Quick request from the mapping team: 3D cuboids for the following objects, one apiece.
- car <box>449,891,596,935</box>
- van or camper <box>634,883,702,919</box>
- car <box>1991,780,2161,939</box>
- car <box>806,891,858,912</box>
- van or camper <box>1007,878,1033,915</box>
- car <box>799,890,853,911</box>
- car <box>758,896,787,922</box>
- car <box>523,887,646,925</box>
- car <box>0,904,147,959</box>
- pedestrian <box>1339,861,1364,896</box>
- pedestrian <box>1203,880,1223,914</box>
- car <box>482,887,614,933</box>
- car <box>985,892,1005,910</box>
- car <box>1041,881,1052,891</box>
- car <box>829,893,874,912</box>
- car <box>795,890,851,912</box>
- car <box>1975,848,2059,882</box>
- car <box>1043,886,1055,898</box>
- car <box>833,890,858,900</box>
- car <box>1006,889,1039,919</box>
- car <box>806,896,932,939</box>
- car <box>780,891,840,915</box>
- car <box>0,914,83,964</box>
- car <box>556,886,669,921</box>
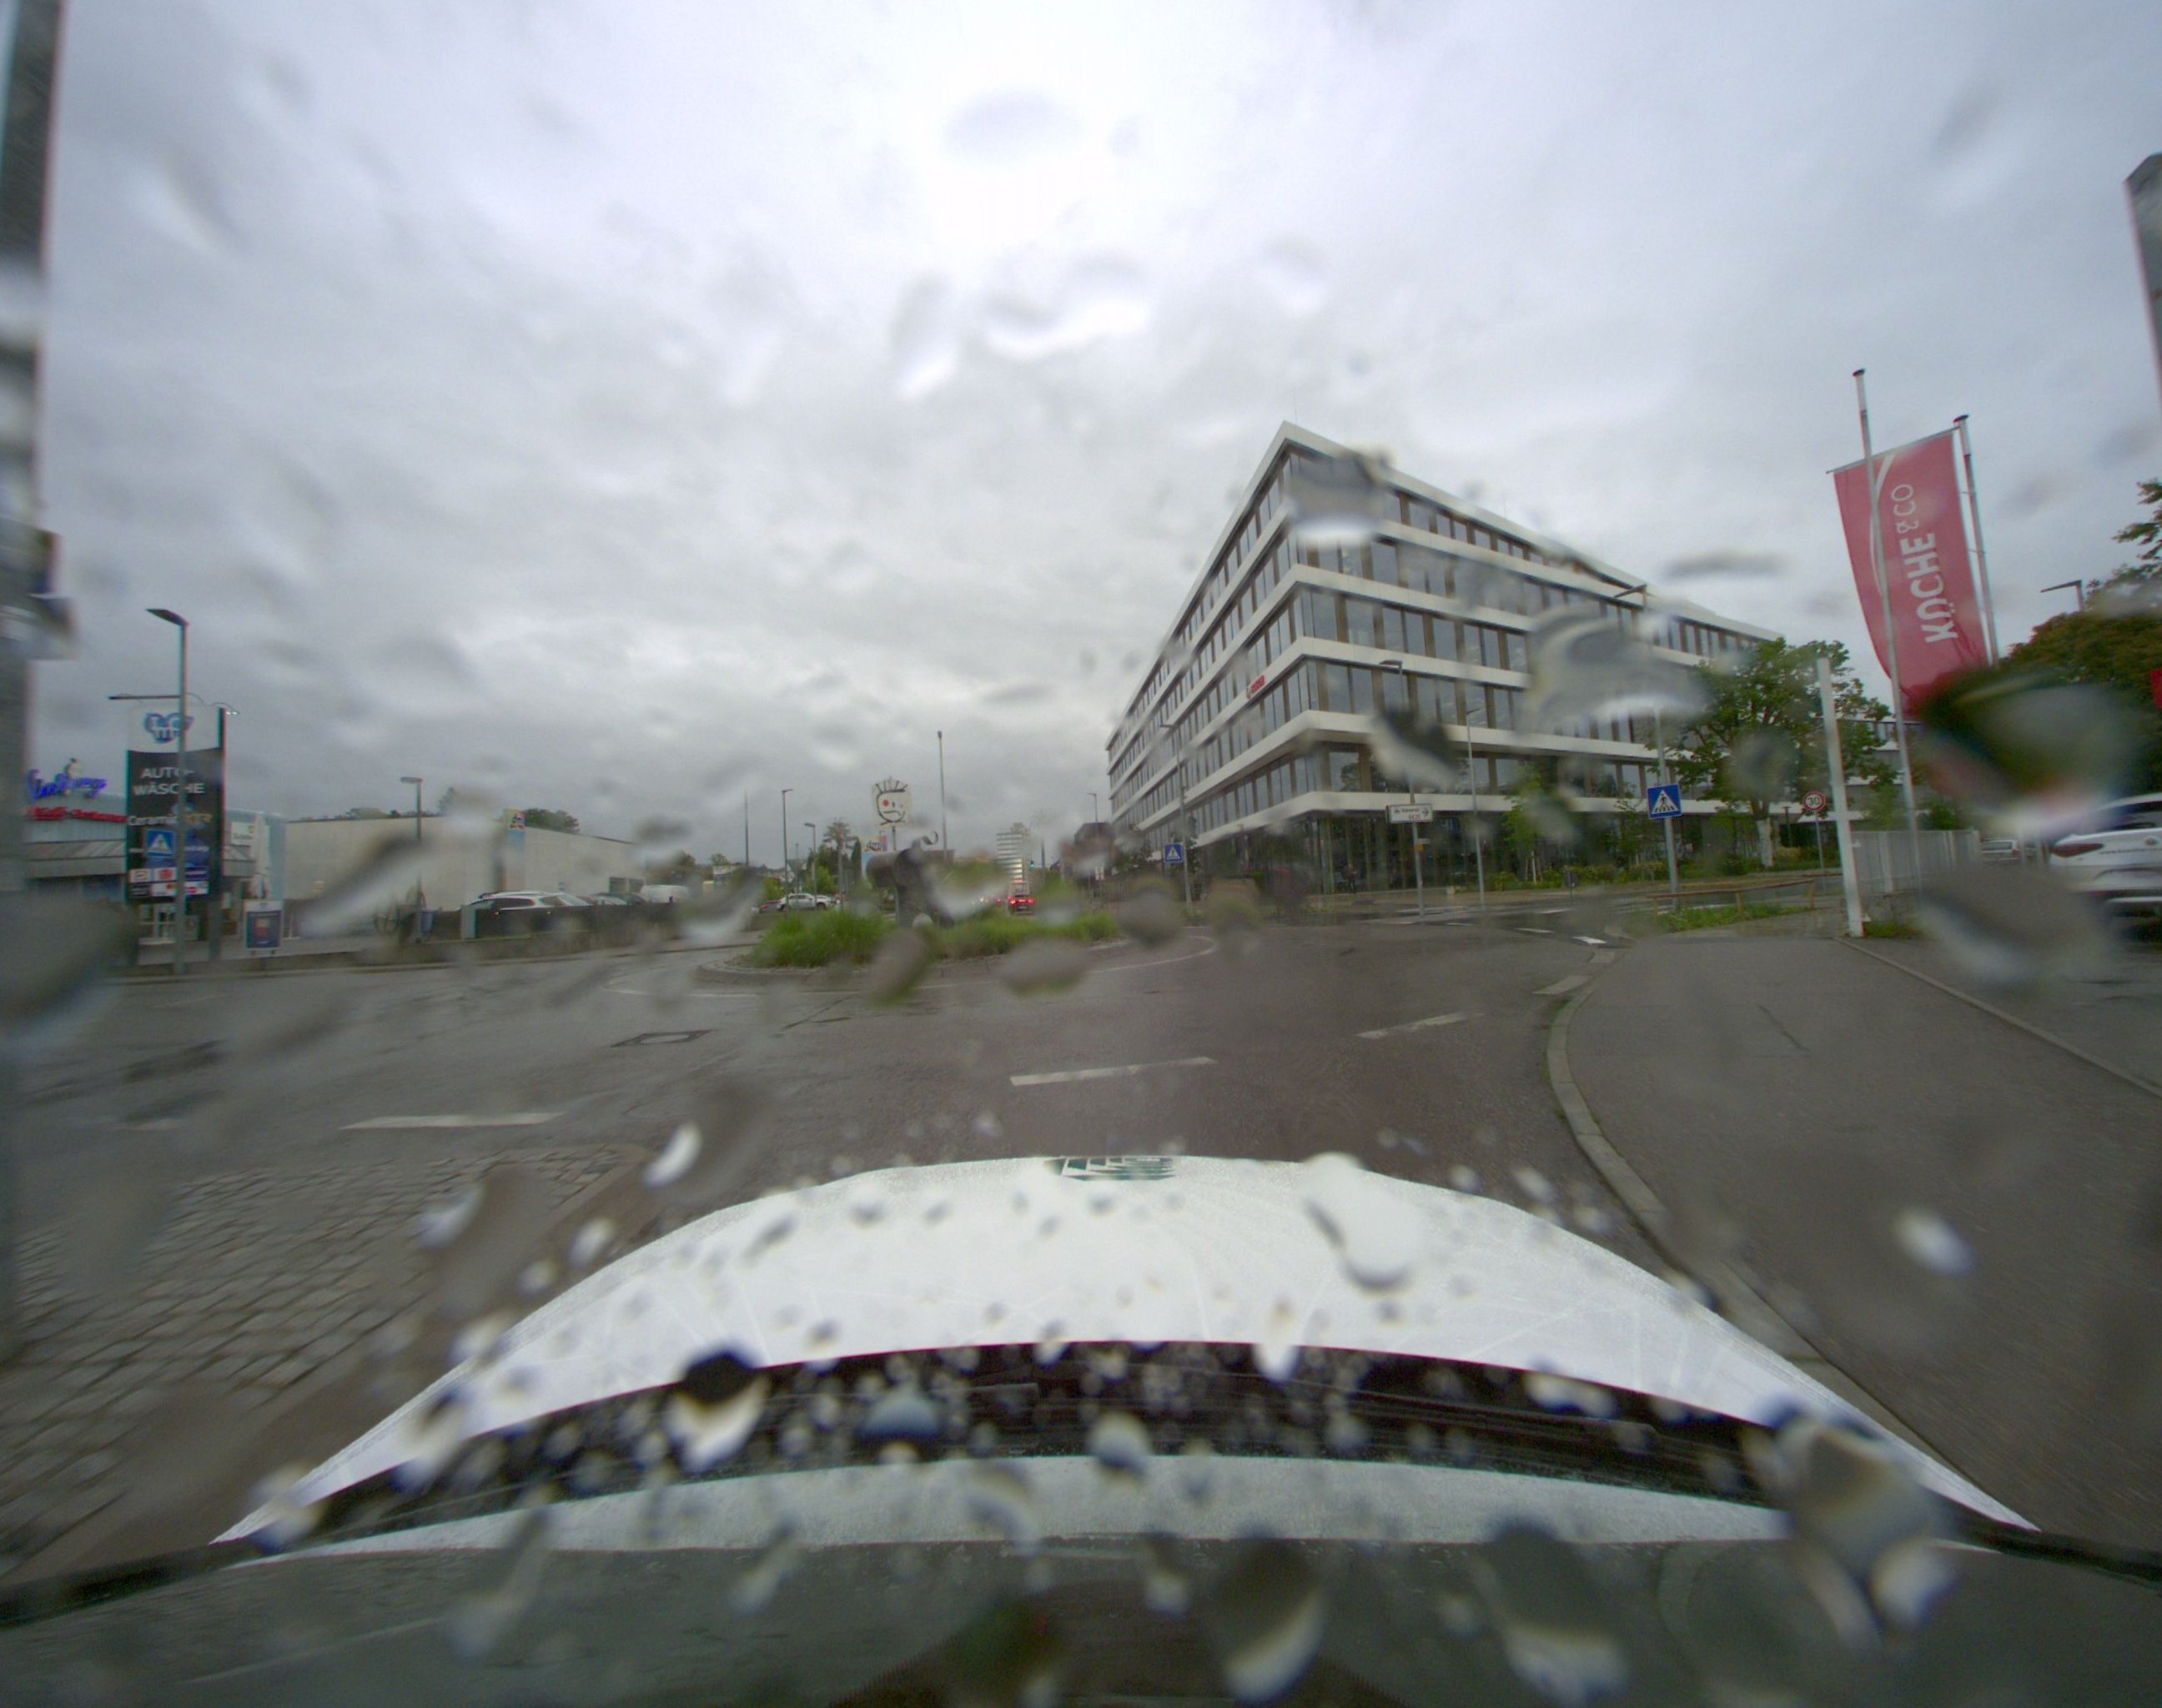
[{"bbox_3d":[-20.351,2.142,29.825,3.980,1.295,1.885,-3,0,-5],"label":"car"},{"bbox_3d":[-23.854,2.668,47.211,1.878,1.761,4.376,-2,0,-3],"label":"van or camper"},{"bbox_3d":[13.317,-0.014,9.771,4.175,1.691,1.832,-3,-3,-23],"label":"car"},{"bbox_3d":[-21.549,4.132,70.464,3.984,1.552,1.789,-3,-3,-8],"label":"car"},{"bbox_3d":[-5.496,3.726,73.113,1.992,3.088,5.089,-3,-1,-7],"label":"van or camper"},{"bbox_3d":[-21.154,3.862,67.645,3.984,1.552,1.789,-3,-3,-8],"label":"car"},{"bbox_3d":[-27.326,4.864,72.267,1.996,2.014,3.981,0,-1,-14],"label":"car"},{"bbox_3d":[-21.100,2.198,34.741,3.980,1.295,1.885,-3,0,-5],"label":"car"},{"bbox_3d":[-33.374,2.505,26.302,3.980,1.486,1.885,-3,0,-5],"label":"car"},{"bbox_3d":[15.989,1.461,48.175,0.935,2.014,0.884,-1,-3,-32],"label":"pedestrian"},{"bbox_3d":[8.668,2.843,53.637,1.000,2.146,0.931,-3,-3,-2],"label":"pedestrian"},{"bbox_3d":[-21.155,2.213,32.470,3.984,1.552,1.789,-3,-3,-8],"label":"car"},{"bbox_3d":[-9.706,5.285,92.395,1.989,1.860,3.996,0,-1,-3],"label":"car"},{"bbox_3d":[-6.792,6.278,160.835,1.989,1.860,3.996,0,-1,-3],"label":"car"},{"bbox_3d":[-22.682,4.792,80.609,3.984,1.552,1.789,-3,-3,-8],"label":"car"},{"bbox_3d":[-20.770,3.773,65.692,3.984,1.552,1.789,-3,-3,-8],"label":"car"},{"bbox_3d":[44.404,0.493,38.627,4.013,1.556,1.935,0,-1,-31],"label":"car"},{"bbox_3d":[-5.153,6.165,131.896,1.989,1.860,3.996,0,-1,-3],"label":"car"},{"bbox_3d":[-42.270,7.384,146.235,3.982,1.651,1.996,0,-1,-6],"label":"car"},{"bbox_3d":[-4.020,3.445,56.718,1.987,1.728,3.999,-2,0,-1],"label":"car"},{"bbox_3d":[-8.257,2.458,32.313,1.976,1.383,5.371,-4,-3,22],"label":"car"},{"bbox_3d":[-20.731,3.749,62.450,3.984,1.552,1.847,-3,-3,-8],"label":"car"},{"bbox_3d":[-32.659,2.566,23.948,3.980,1.295,1.885,-3,0,-5],"label":"car"},{"bbox_3d":[-21.221,2.228,37.023,3.980,1.295,1.885,-3,0,-5],"label":"car"}]
